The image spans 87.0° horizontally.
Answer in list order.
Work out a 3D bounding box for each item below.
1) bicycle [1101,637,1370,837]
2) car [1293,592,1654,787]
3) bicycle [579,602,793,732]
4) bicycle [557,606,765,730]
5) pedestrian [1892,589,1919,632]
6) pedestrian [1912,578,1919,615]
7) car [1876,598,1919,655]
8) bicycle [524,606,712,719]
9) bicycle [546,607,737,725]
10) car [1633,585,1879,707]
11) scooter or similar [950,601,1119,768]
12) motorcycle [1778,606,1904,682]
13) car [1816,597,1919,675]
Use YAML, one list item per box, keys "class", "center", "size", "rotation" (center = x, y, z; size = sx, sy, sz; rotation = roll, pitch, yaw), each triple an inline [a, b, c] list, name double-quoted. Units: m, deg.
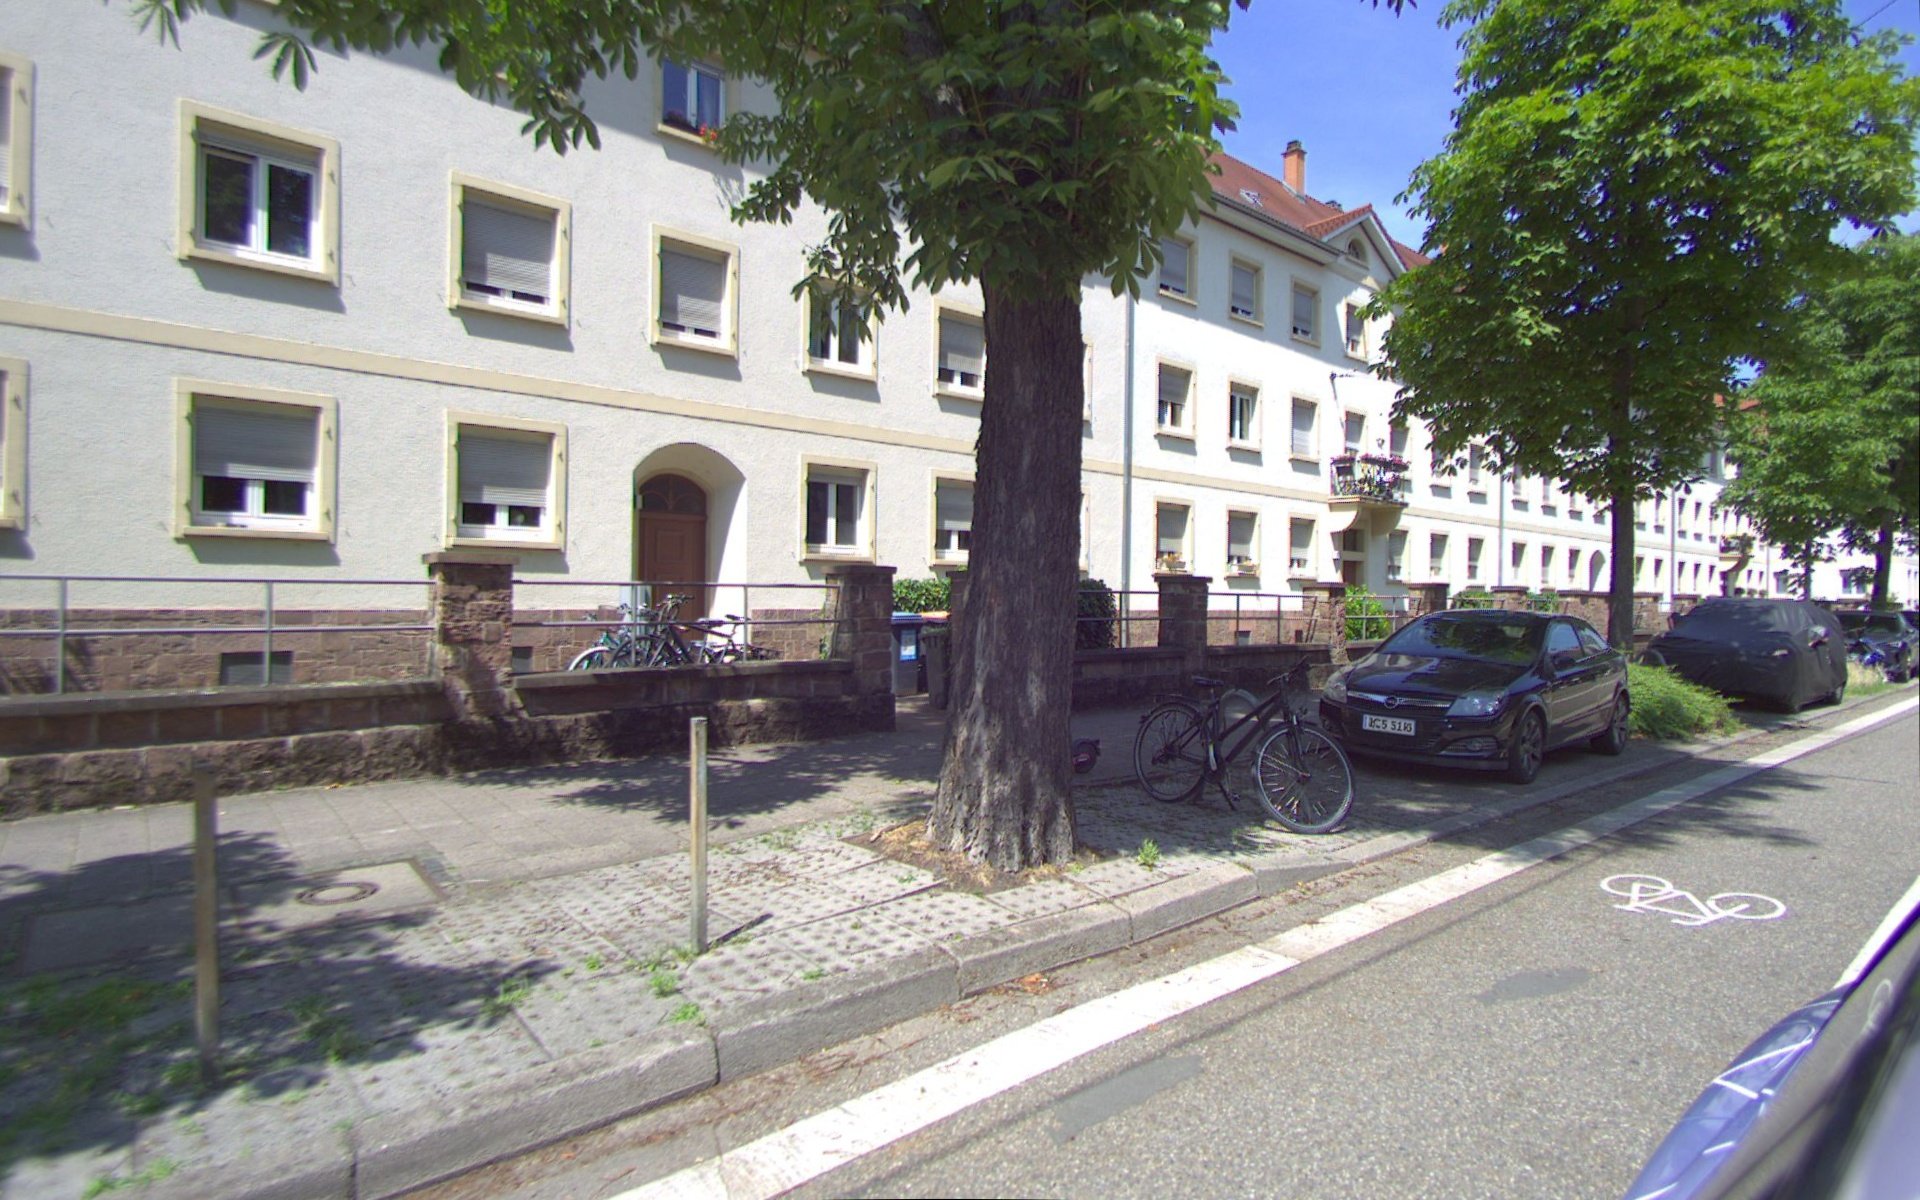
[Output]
- class: "bicycle"
  center: [1.807, 0.843, 6.802]
  size: [1.652, 1.092, 0.597]
  rotation: [2, 1, 43]
- class: "car"
  center: [5.044, 0.677, 9.644]
  size: [4.283, 1.437, 1.696]
  rotation: [1, 0, -43]
- class: "bicycle"
  center: [-2.484, 0.569, 9.347]
  size: [1.890, 1.092, 0.479]
  rotation: [0, 0, -41]
- class: "bicycle"
  center: [-2.846, 0.607, 9.777]
  size: [1.890, 1.092, 0.479]
  rotation: [0, 0, -41]
- class: "pedestrian"
  center: [38.510, 0.424, 41.184]
  size: [0.854, 1.690, 0.699]
  rotation: [1, 3, -41]
- class: "pedestrian"
  center: [43.883, -0.155, 46.105]
  size: [0.743, 1.691, 0.698]
  rotation: [1, 0, -42]
- class: "car"
  center: [27.209, 0.733, 28.606]
  size: [3.933, 1.534, 1.658]
  rotation: [0, 0, -43]
- class: "bicycle"
  center: [-3.613, 0.619, 10.828]
  size: [0.478, 1.092, 1.894]
  rotation: [1, 0, 44]
- class: "bicycle"
  center: [-3.240, 0.634, 10.450]
  size: [0.478, 1.092, 1.894]
  rotation: [1, 0, 43]
- class: "car"
  center: [12.765, 0.640, 16.127]
  size: [4.789, 1.671, 1.953]
  rotation: [1, 0, -37]
- class: "scooter or similar"
  center: [0.562, 0.628, 7.738]
  size: [1.222, 1.228, 0.381]
  rotation: [1, 0, -10]
- class: "motorcycle"
  center: [17.928, 0.856, 20.641]
  size: [1.911, 1.451, 0.661]
  rotation: [1, 0, 42]
- class: "car"
  center: [20.921, 0.763, 22.952]
  size: [4.377, 1.571, 1.735]
  rotation: [1, 0, -42]
